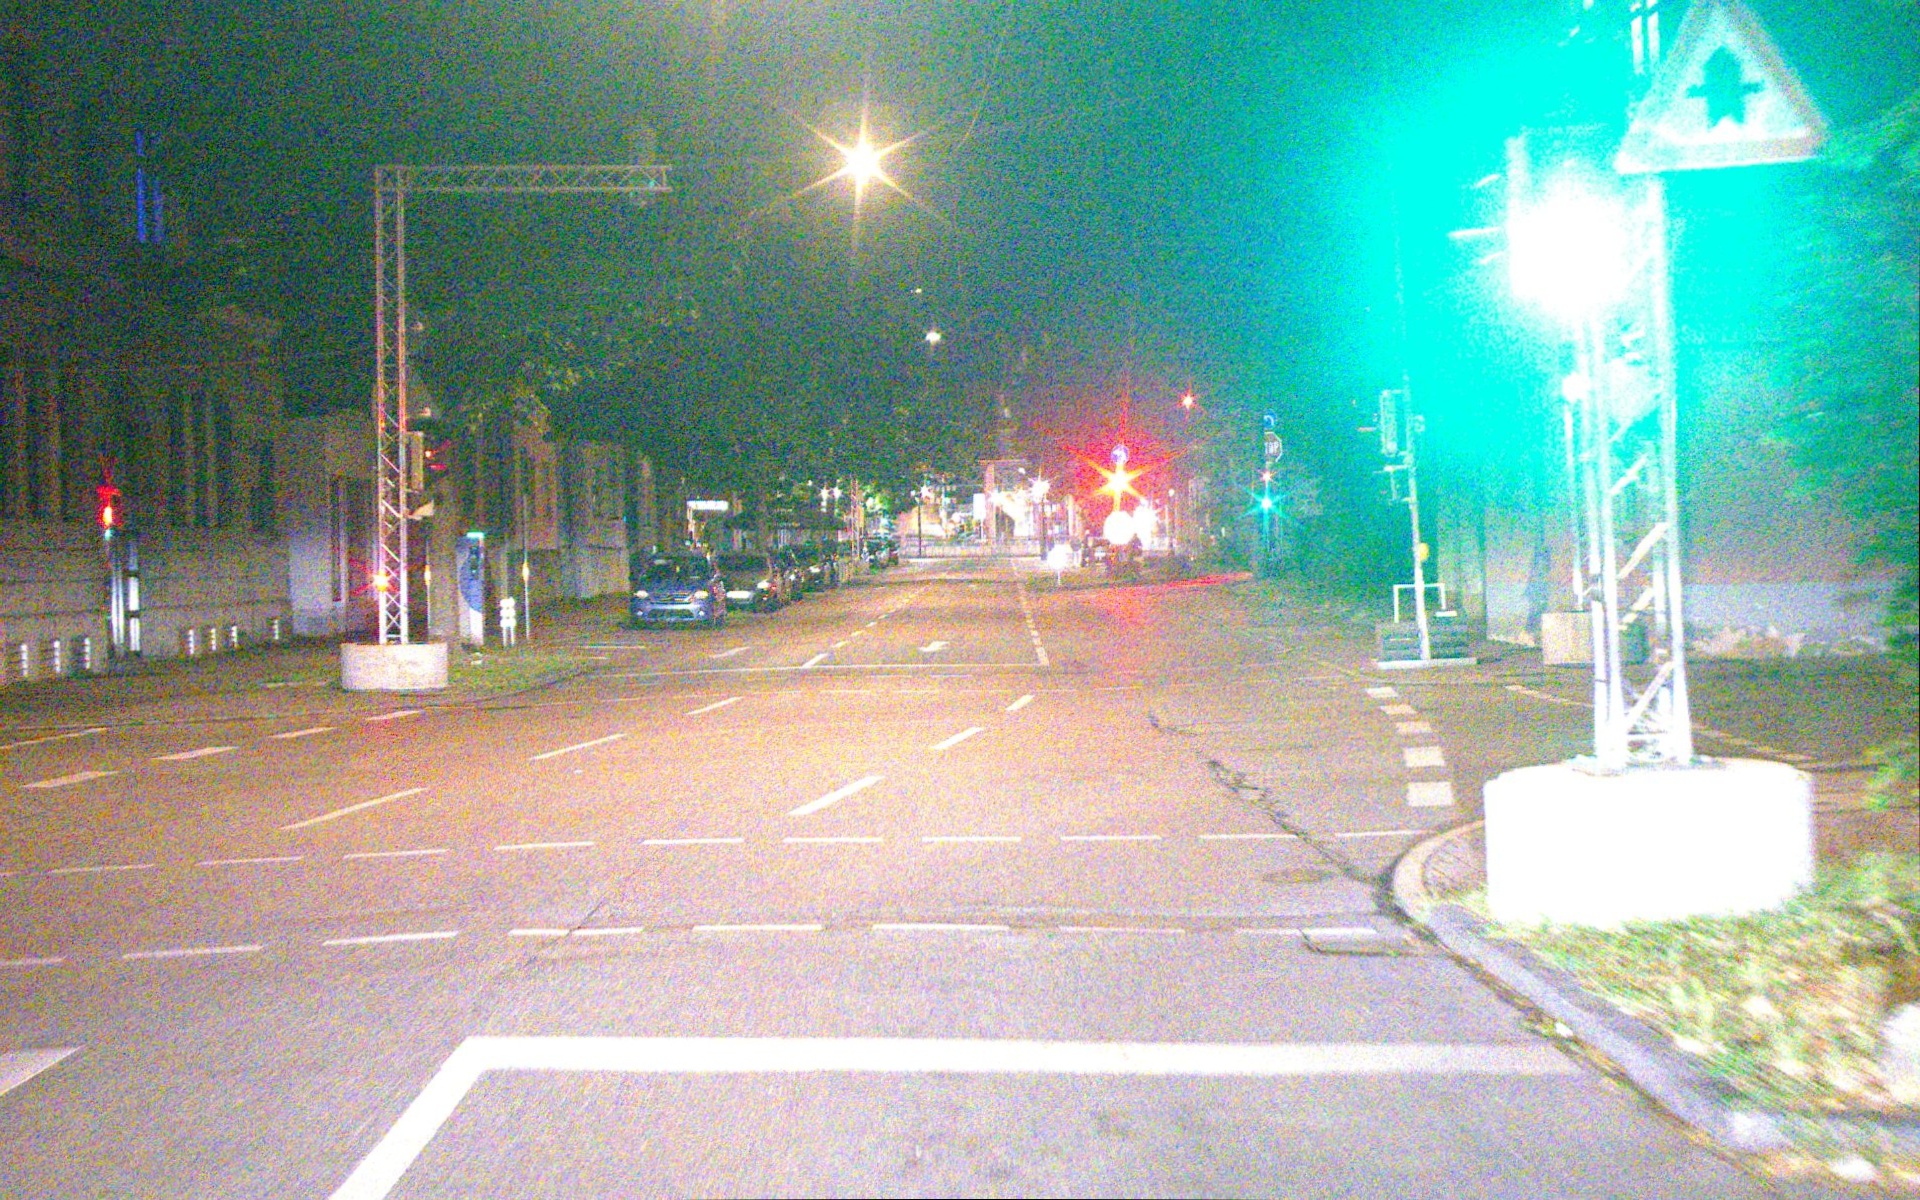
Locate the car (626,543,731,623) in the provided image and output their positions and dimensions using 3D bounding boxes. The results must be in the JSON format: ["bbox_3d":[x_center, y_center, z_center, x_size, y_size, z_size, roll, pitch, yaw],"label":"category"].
[{"bbox_3d":[-5.534,-0.311,67.846,1.714,1.489,3.989,-1,-1,0],"label":"car"}]

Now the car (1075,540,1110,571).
[{"bbox_3d":[6.482,-2.191,168.720,1.651,1.426,4.000,-2,1,2],"label":"car"}]

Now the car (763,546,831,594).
[{"bbox_3d":[-5.226,-0.972,110.650,1.899,1.466,4.452,0,1,1],"label":"car"}]

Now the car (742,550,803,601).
[{"bbox_3d":[-5.301,-0.702,97.490,1.622,1.378,4.452,-2,1,-2],"label":"car"}]

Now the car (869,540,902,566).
[{"bbox_3d":[-4.187,-2.643,192.953,1.651,1.426,4.000,-2,1,1],"label":"car"}]

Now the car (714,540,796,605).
[{"bbox_3d":[-4.970,-0.688,83.985,1.768,1.480,4.768,-2,1,-1],"label":"car"}]
